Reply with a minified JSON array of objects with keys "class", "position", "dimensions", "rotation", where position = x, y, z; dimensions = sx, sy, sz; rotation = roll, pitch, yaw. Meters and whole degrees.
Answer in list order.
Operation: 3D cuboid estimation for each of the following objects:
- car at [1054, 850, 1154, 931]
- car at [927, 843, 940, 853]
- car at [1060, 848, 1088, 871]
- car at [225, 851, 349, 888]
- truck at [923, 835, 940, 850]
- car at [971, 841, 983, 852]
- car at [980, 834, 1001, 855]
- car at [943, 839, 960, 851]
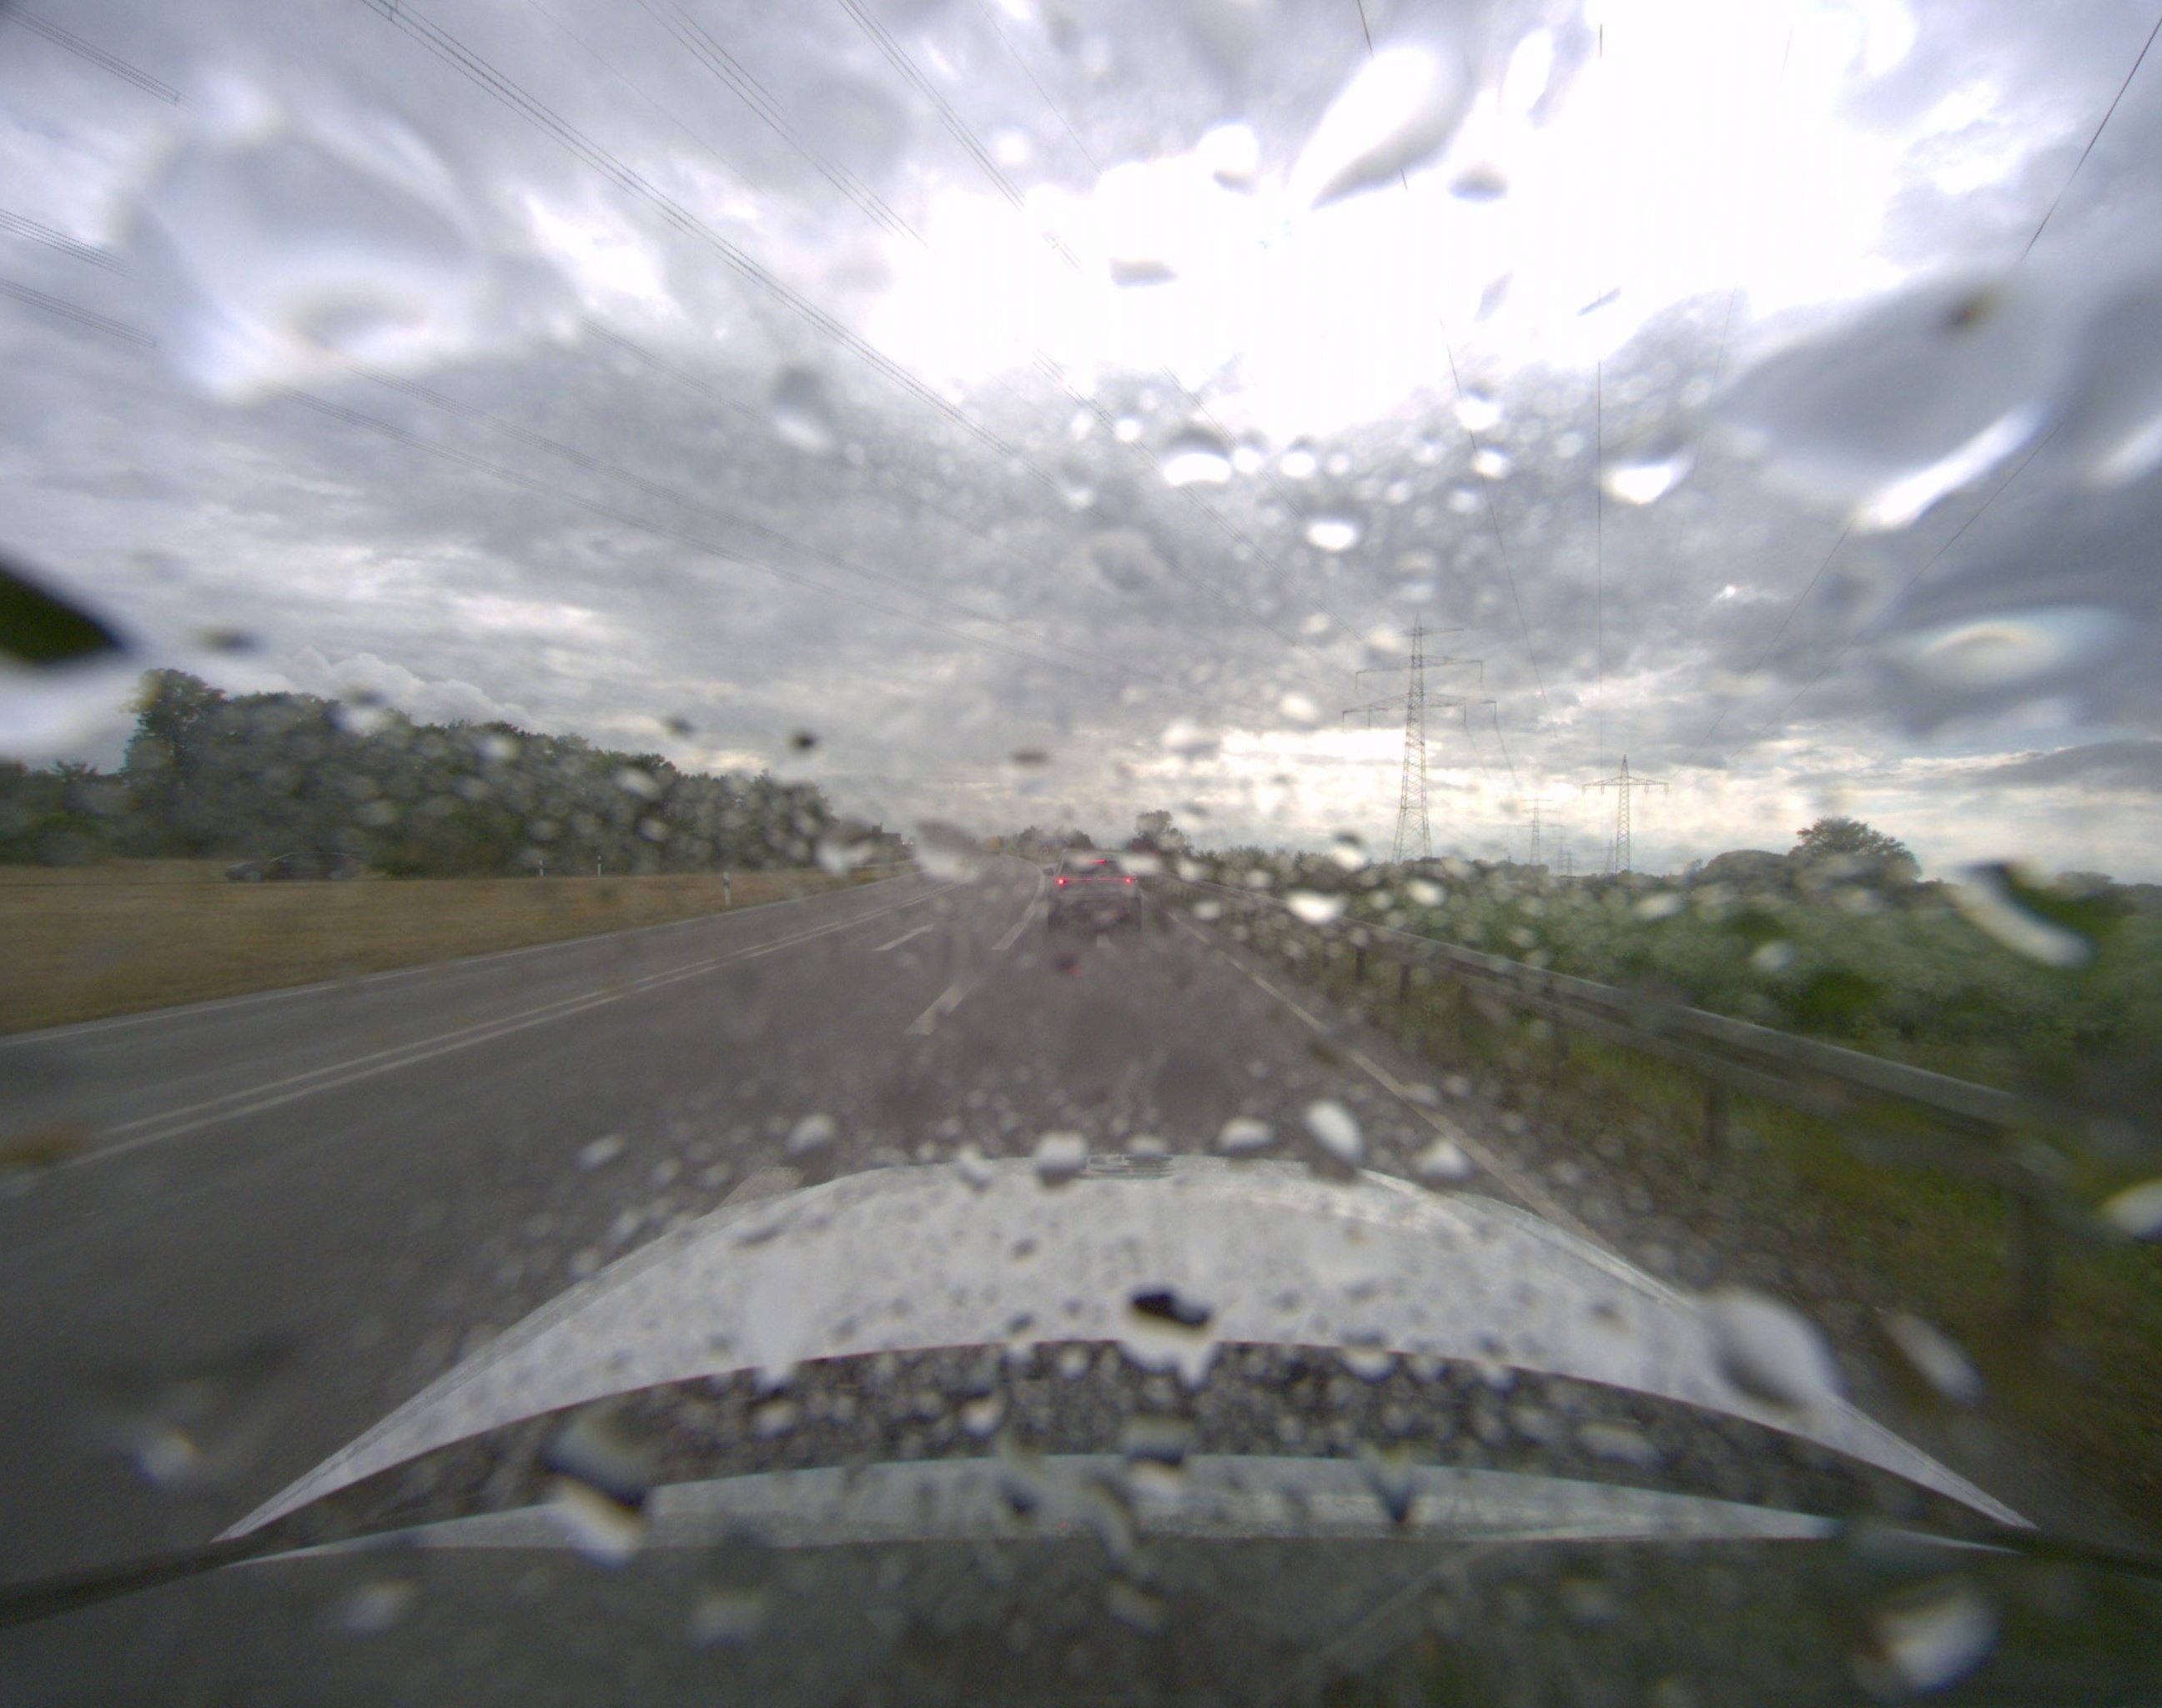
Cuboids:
[{"class":"car","position":[0.390,0.672,16.528],"dimensions":[1.786,1.441,3.998],"rotation":[0,-1,-1]},{"class":"car","position":[-22.347,-0.884,123.416],"dimensions":[1.744,1.365,4.036],"rotation":[-3,-1,-10]},{"class":"car","position":[-0.455,0.387,54.514],"dimensions":[1.785,1.441,3.999],"rotation":[0,-1,0]},{"class":"car","position":[-36.194,0.660,37.282],"dimensions":[3.937,1.603,1.964],"rotation":[0,0,-41]},{"class":"truck","position":[-36.175,-2.729,197.002],"dimensions":[3.055,3.385,7.593],"rotation":[1,-2,-19]},{"class":"car","position":[-16.562,-1.217,130.168],"dimensions":[1.789,1.688,3.990],"rotation":[0,-2,-7]},{"class":"car","position":[-12.333,-1.277,111.065],"dimensions":[2.570,2.725,7.180],"rotation":[-2,1,-6]},{"class":"car","position":[-26.995,-1.850,170.153],"dimensions":[2.610,2.251,5.498],"rotation":[1,-2,-19]}]
